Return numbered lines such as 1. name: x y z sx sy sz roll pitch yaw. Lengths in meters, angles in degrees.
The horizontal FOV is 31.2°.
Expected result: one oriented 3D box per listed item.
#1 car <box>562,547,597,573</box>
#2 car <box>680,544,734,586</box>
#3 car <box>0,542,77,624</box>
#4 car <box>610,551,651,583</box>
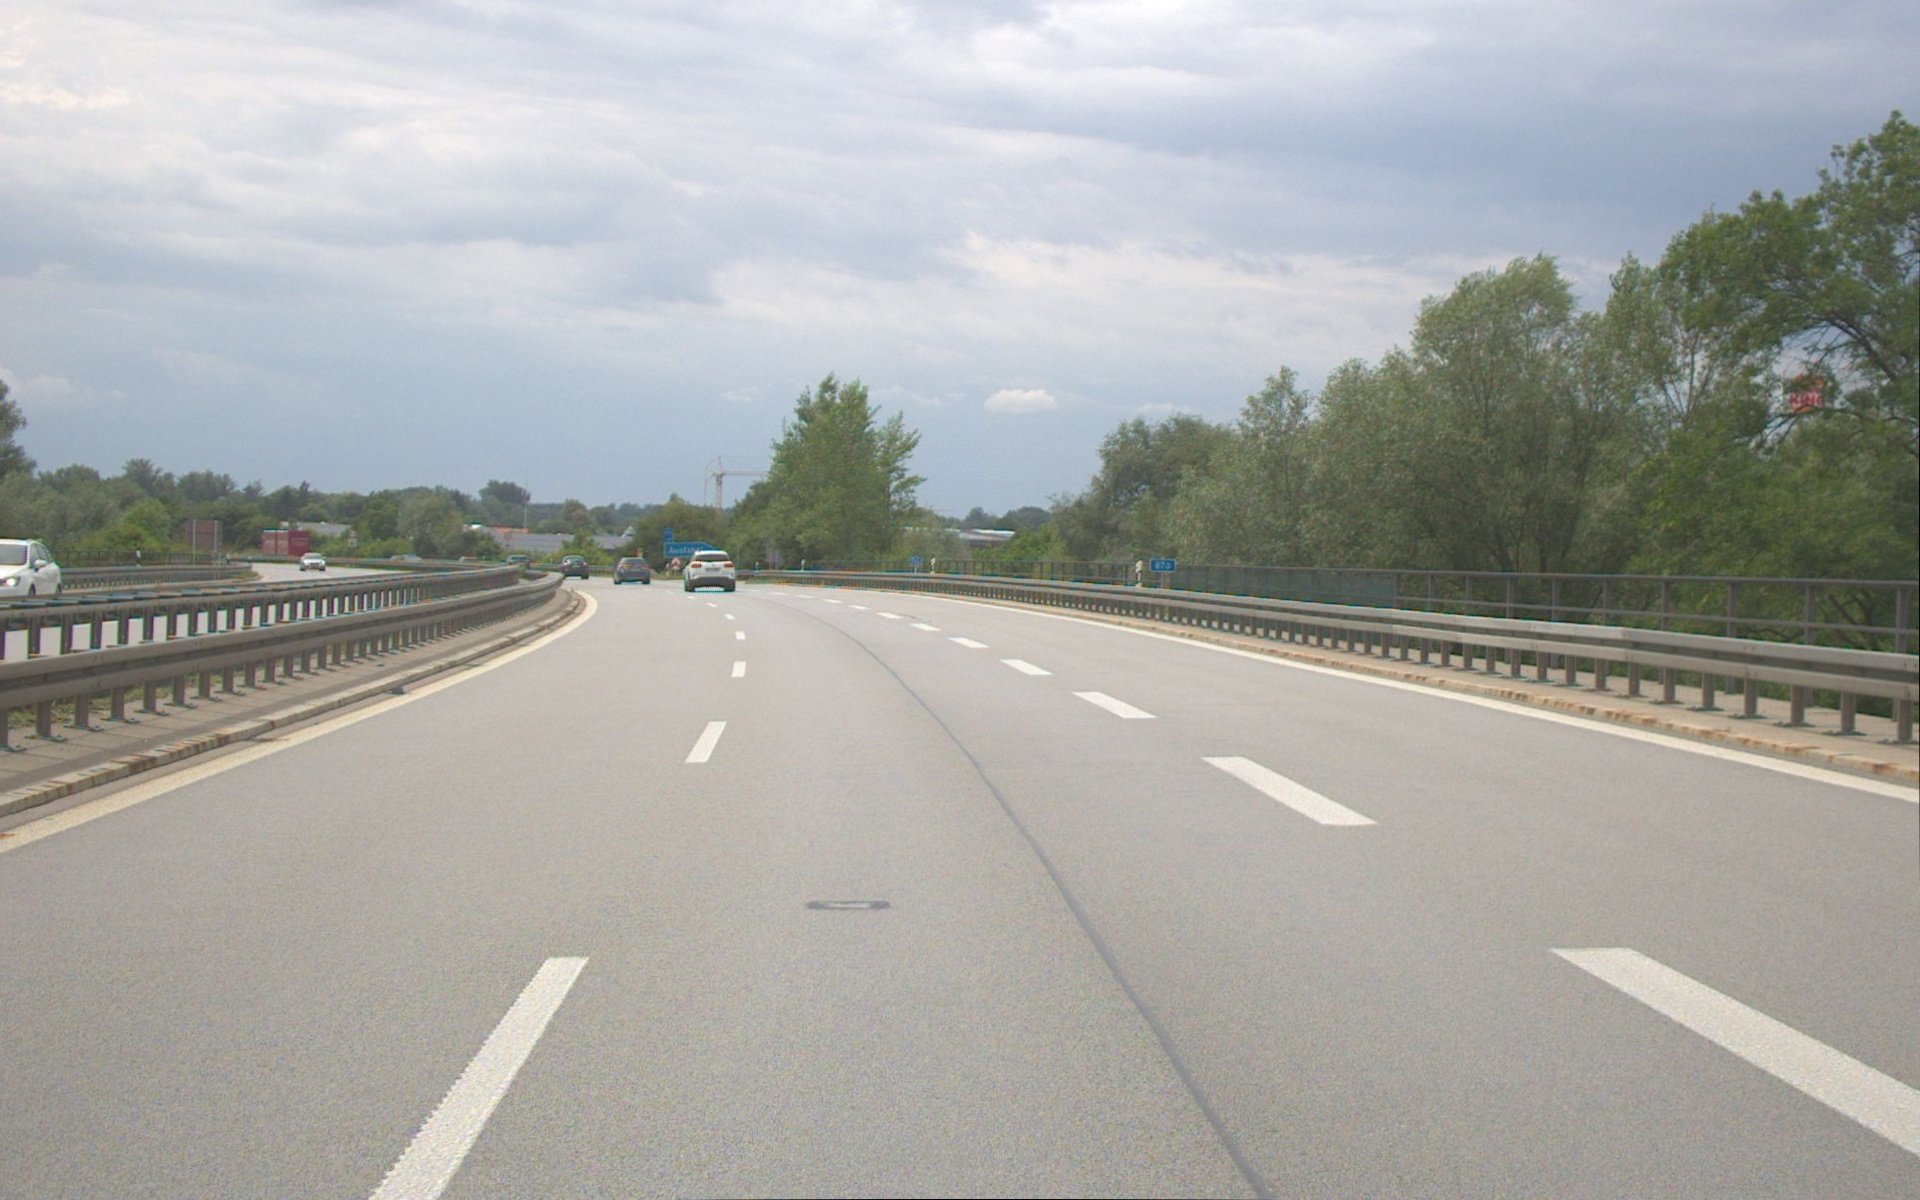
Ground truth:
1. car: -25.164 -2.618 227.131 1.902 1.634 4.781 1 0 -11
2. car: -10.165 -1.405 137.951 1.902 1.634 4.397 1 1 -7
3. car: -17.079 -0.334 61.725 1.531 1.402 4.329 1 1 -3
4. car: -17.789 -1.793 185.208 1.892 1.634 4.623 1 1 -9
